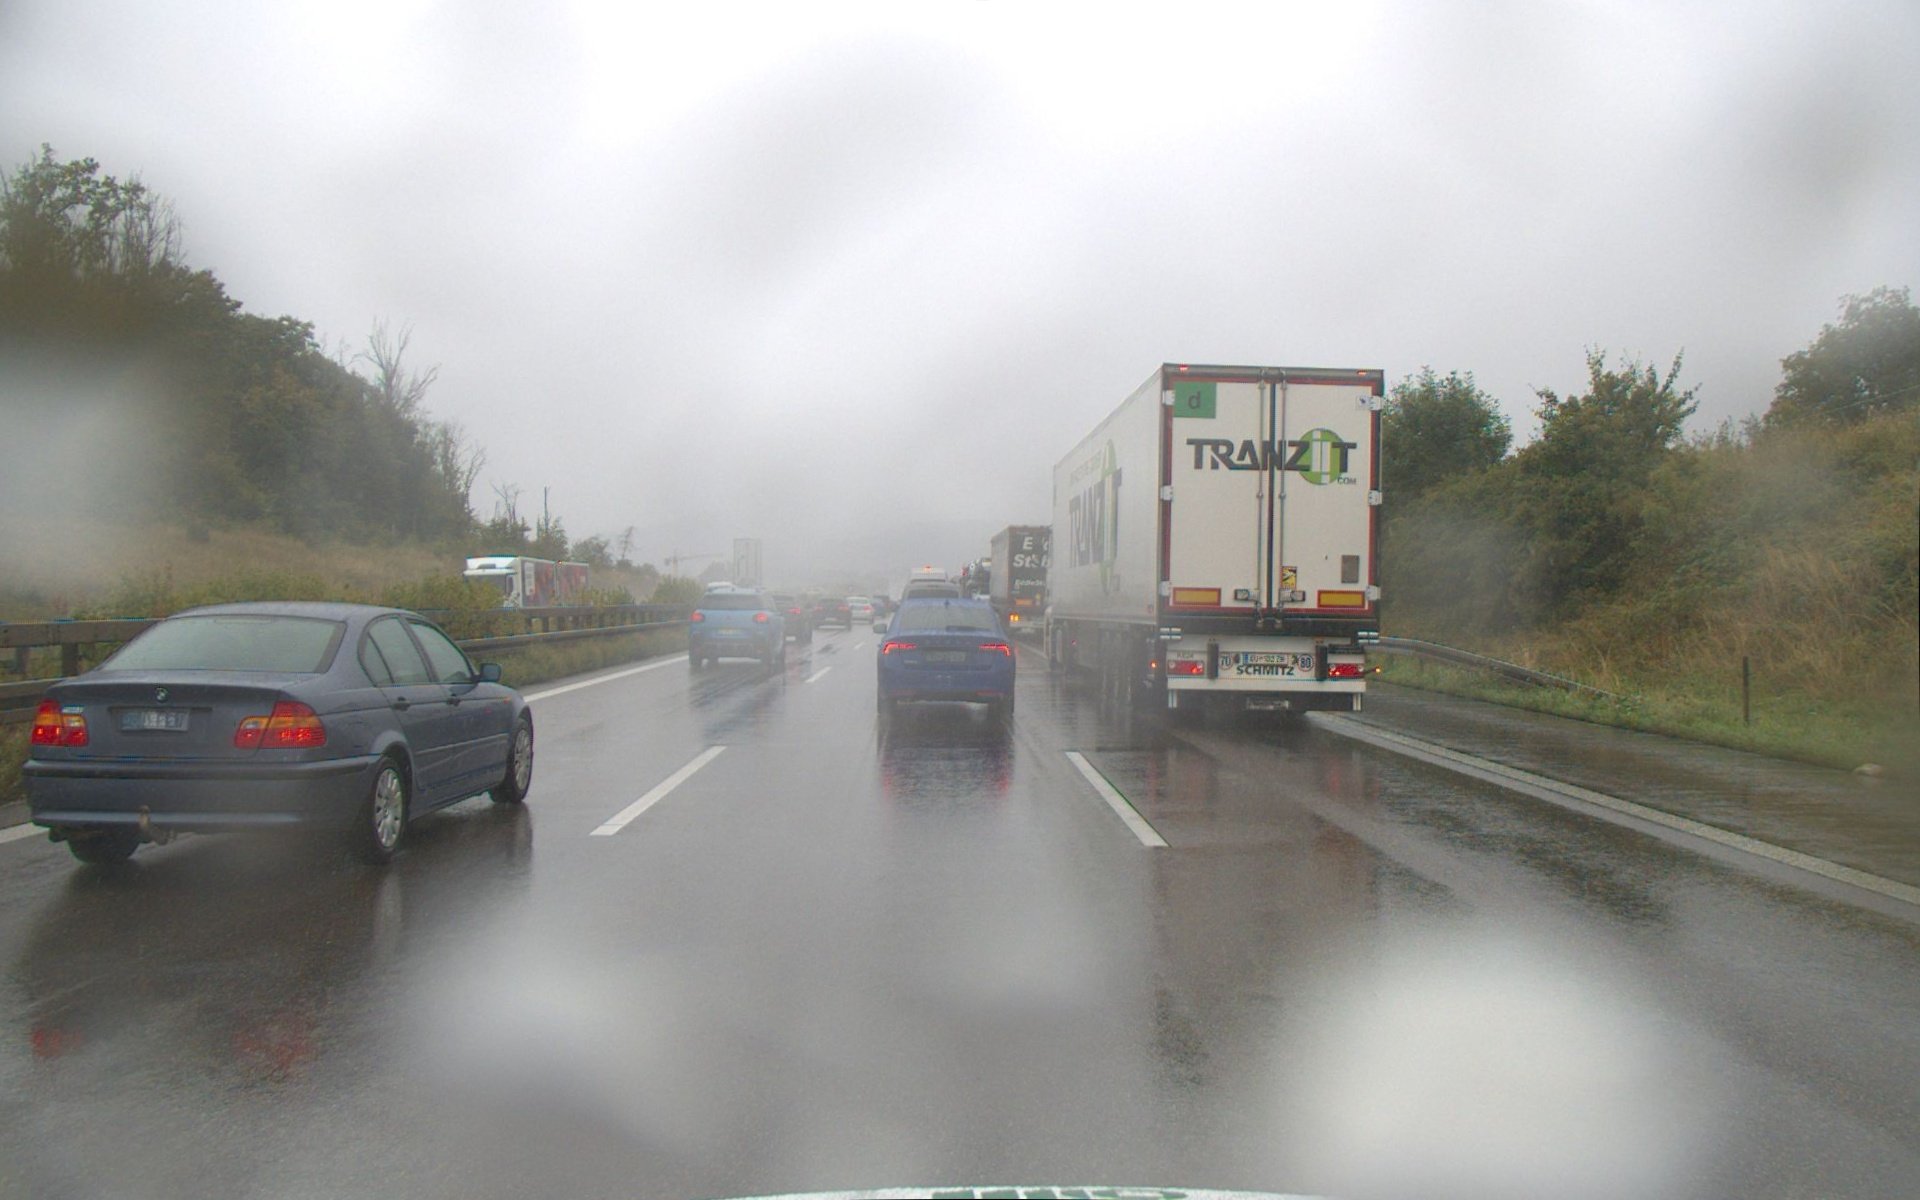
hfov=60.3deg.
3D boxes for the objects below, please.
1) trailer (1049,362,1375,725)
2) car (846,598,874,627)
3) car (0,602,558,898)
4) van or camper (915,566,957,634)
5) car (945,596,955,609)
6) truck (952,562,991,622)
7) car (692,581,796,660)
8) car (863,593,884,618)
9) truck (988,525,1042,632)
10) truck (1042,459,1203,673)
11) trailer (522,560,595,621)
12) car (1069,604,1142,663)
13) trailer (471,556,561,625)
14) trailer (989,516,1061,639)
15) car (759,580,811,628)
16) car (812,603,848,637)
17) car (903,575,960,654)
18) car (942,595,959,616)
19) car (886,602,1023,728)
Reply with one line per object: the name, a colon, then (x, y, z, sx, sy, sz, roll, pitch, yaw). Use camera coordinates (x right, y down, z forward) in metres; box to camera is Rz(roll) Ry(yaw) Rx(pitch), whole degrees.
trailer: (3.239, -0.678, 25.970, 2.577, 4.083, 14.625, 0, 0, -1)
car: (-5.517, 0.677, 91.731, 1.410, 1.560, 3.321, 0, 0, -1)
car: (-3.847, 0.732, 10.164, 1.683, 1.424, 4.230, 0, 0, 0)
van or camper: (-1.050, -0.010, 72.025, 1.761, 2.855, 4.766, 0, 0, -1)
car: (-1.435, 0.366, 237.691, 1.419, 1.815, 3.408, 1, 0, -1)
truck: (0.663, -0.513, 101.371, 1.953, 3.481, 8.028, 0, 1, -2)
car: (-4.494, 0.403, 34.898, 1.686, 1.550, 4.000, 0, 0, 0)
car: (-6.410, 0.406, 123.153, 1.419, 1.815, 3.408, 1, 0, -1)
truck: (2.238, -0.867, 68.233, 2.005, 4.266, 3.999, 0, 0, -1)
truck: (3.085, -0.636, 32.602, 2.577, 3.894, 4.790, 0, 0, -1)
trailer: (-21.728, -0.532, 89.855, 1.953, 3.136, 8.869, 0, 0, -1)
car: (3.473, 0.779, 39.977, 1.395, 1.310, 3.460, 0, 0, -1)
trailer: (-21.514, -0.473, 80.622, 1.953, 3.136, 9.552, 0, 0, -1)
trailer: (2.344, -0.818, 62.950, 2.005, 4.250, 11.445, 0, 0, -1)
car: (-5.411, 0.110, 51.357, 1.331, 1.456, 3.363, 0, 0, -1)
car: (-5.840, 0.874, 74.557, 1.410, 1.445, 3.321, 0, 0, -1)
car: (-0.701, 0.322, 39.854, 1.309, 1.811, 3.321, 0, 0, -1)
car: (-0.838, 0.469, 149.043, 1.419, 1.815, 3.408, 1, 0, -1)
car: (-0.083, 0.767, 21.496, 1.602, 1.470, 3.999, 0, 0, -1)
